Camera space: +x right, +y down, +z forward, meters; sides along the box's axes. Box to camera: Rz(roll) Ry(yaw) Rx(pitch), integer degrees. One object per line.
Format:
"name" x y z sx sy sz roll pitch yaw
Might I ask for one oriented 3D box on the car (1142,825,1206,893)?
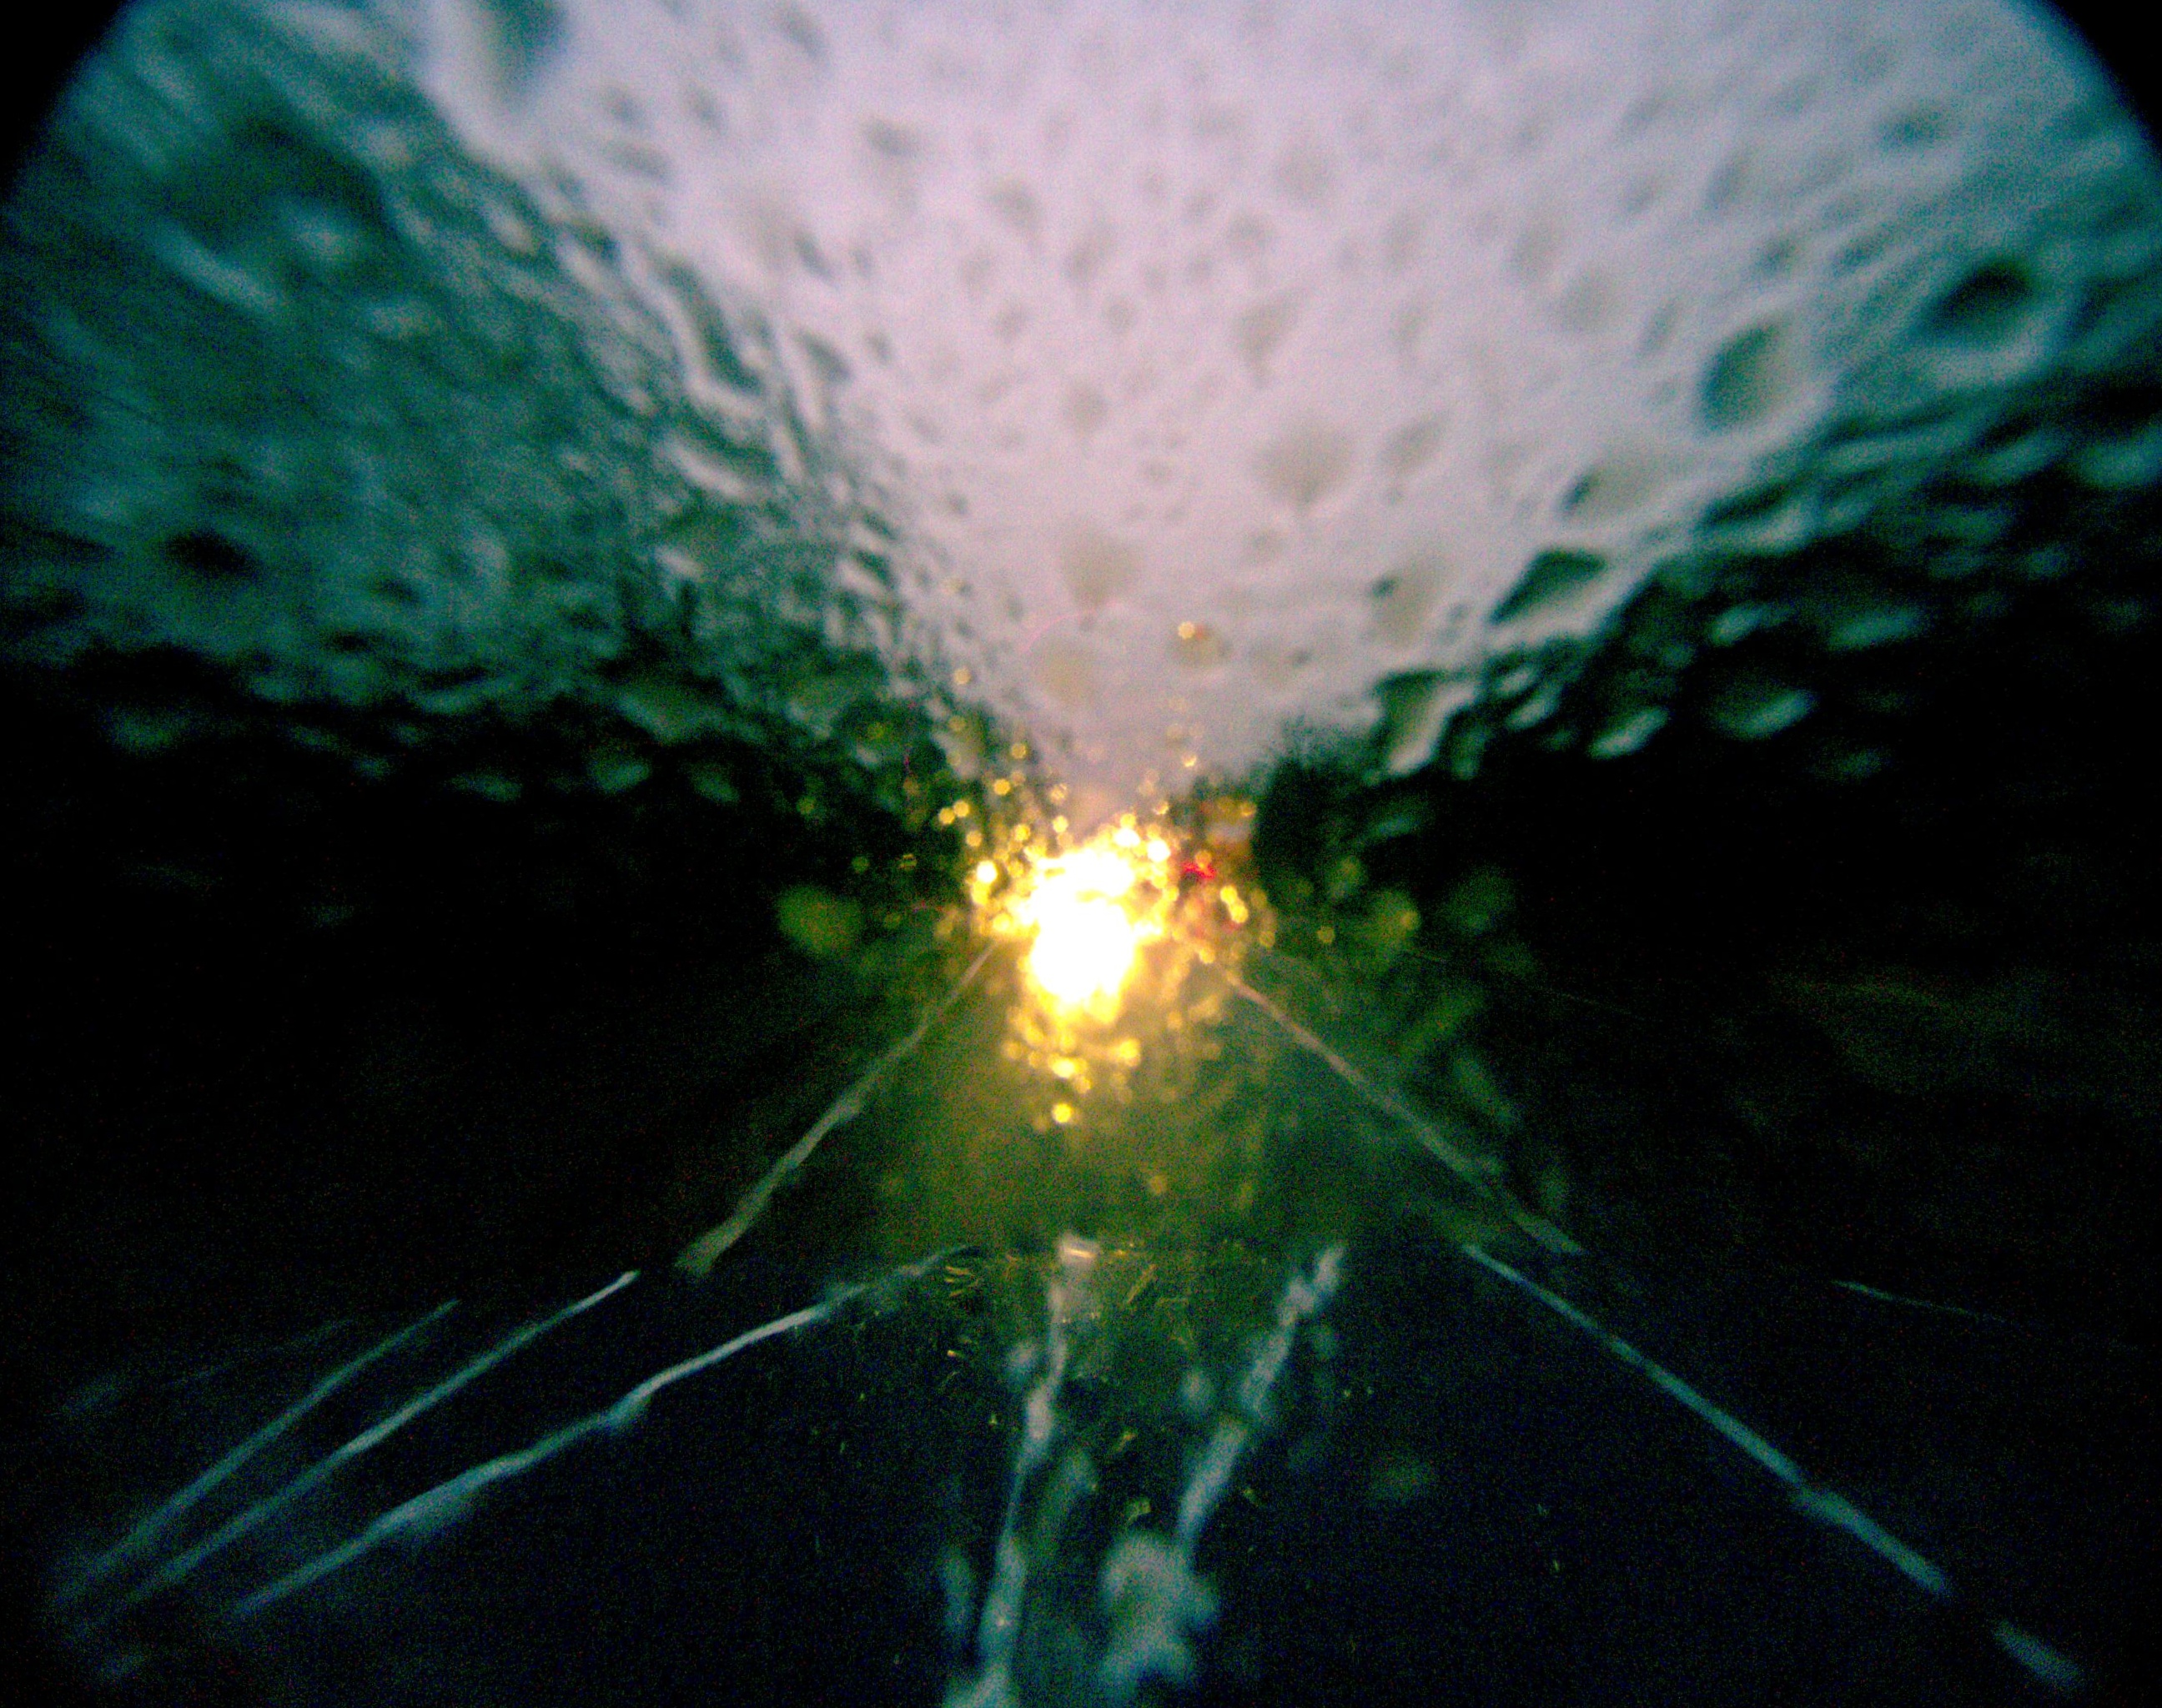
"car" 4.157 0.194 35.070 2.079 2.794 6.652 -2 1 0

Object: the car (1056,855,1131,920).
"car" 0.345 0.921 23.011 1.998 1.672 3.999 -2 1 0
